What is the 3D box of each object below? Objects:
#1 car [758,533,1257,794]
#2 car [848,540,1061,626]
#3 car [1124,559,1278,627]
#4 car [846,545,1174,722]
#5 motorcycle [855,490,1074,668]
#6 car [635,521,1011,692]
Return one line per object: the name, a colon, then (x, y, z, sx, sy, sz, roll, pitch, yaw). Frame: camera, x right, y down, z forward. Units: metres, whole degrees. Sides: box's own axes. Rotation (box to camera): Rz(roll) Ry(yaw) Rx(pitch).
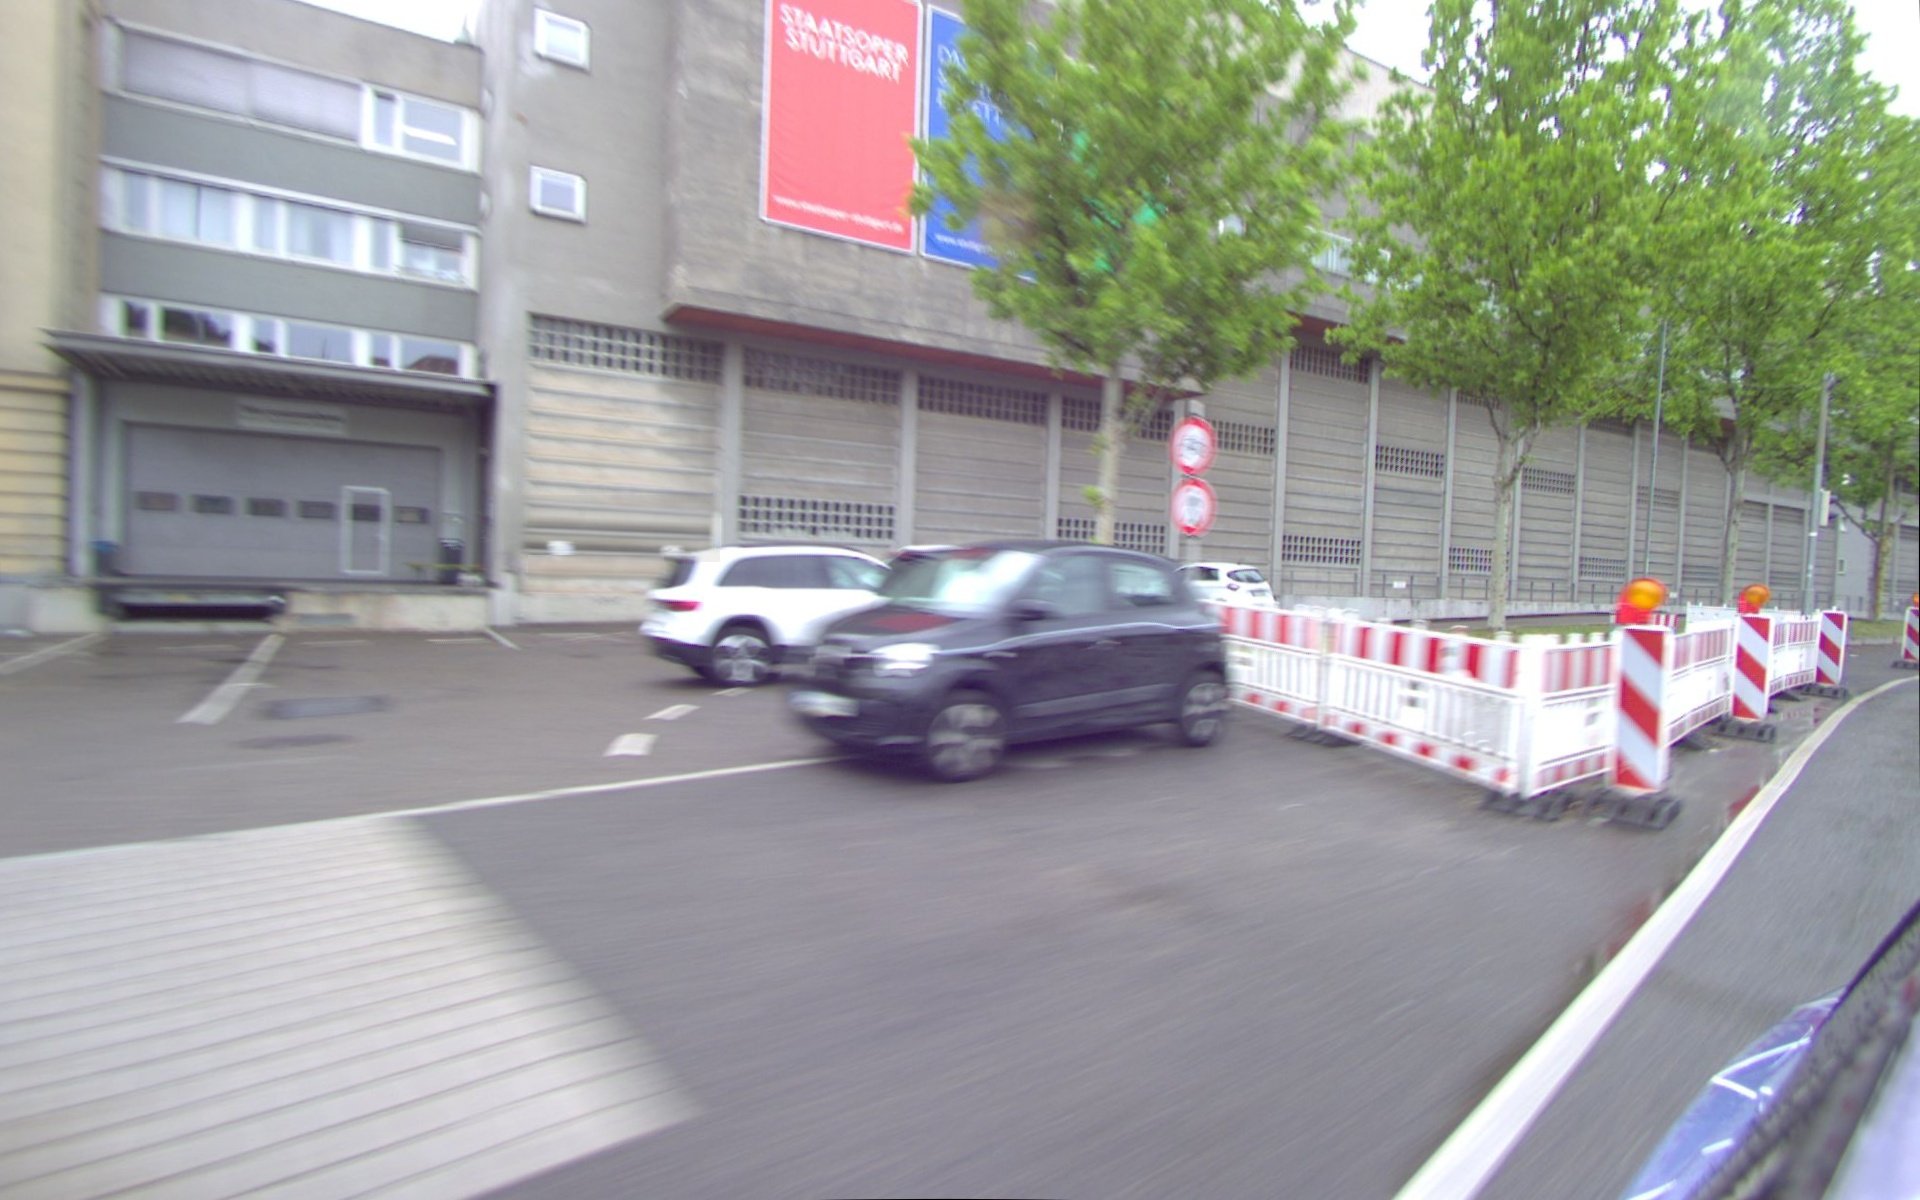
car: (0.478, 0.320, 7.647, 3.557, 1.513, 1.691, -1, 2, -40)
car: (-0.067, -0.391, 23.702, 4.791, 1.809, 1.780, 0, 3, -35)
car: (6.430, -0.234, 27.362, 1.744, 1.598, 3.854, 1, 3, -33)
car: (0.521, 0.266, 10.432, 2.961, 1.556, 1.589, 0, 3, -30)
motorcycle: (0.095, -0.236, 11.987, 2.540, 1.927, 0.751, 1, 3, -34)
car: (-1.771, -0.005, 13.298, 4.403, 1.704, 1.964, -6, 3, -27)
